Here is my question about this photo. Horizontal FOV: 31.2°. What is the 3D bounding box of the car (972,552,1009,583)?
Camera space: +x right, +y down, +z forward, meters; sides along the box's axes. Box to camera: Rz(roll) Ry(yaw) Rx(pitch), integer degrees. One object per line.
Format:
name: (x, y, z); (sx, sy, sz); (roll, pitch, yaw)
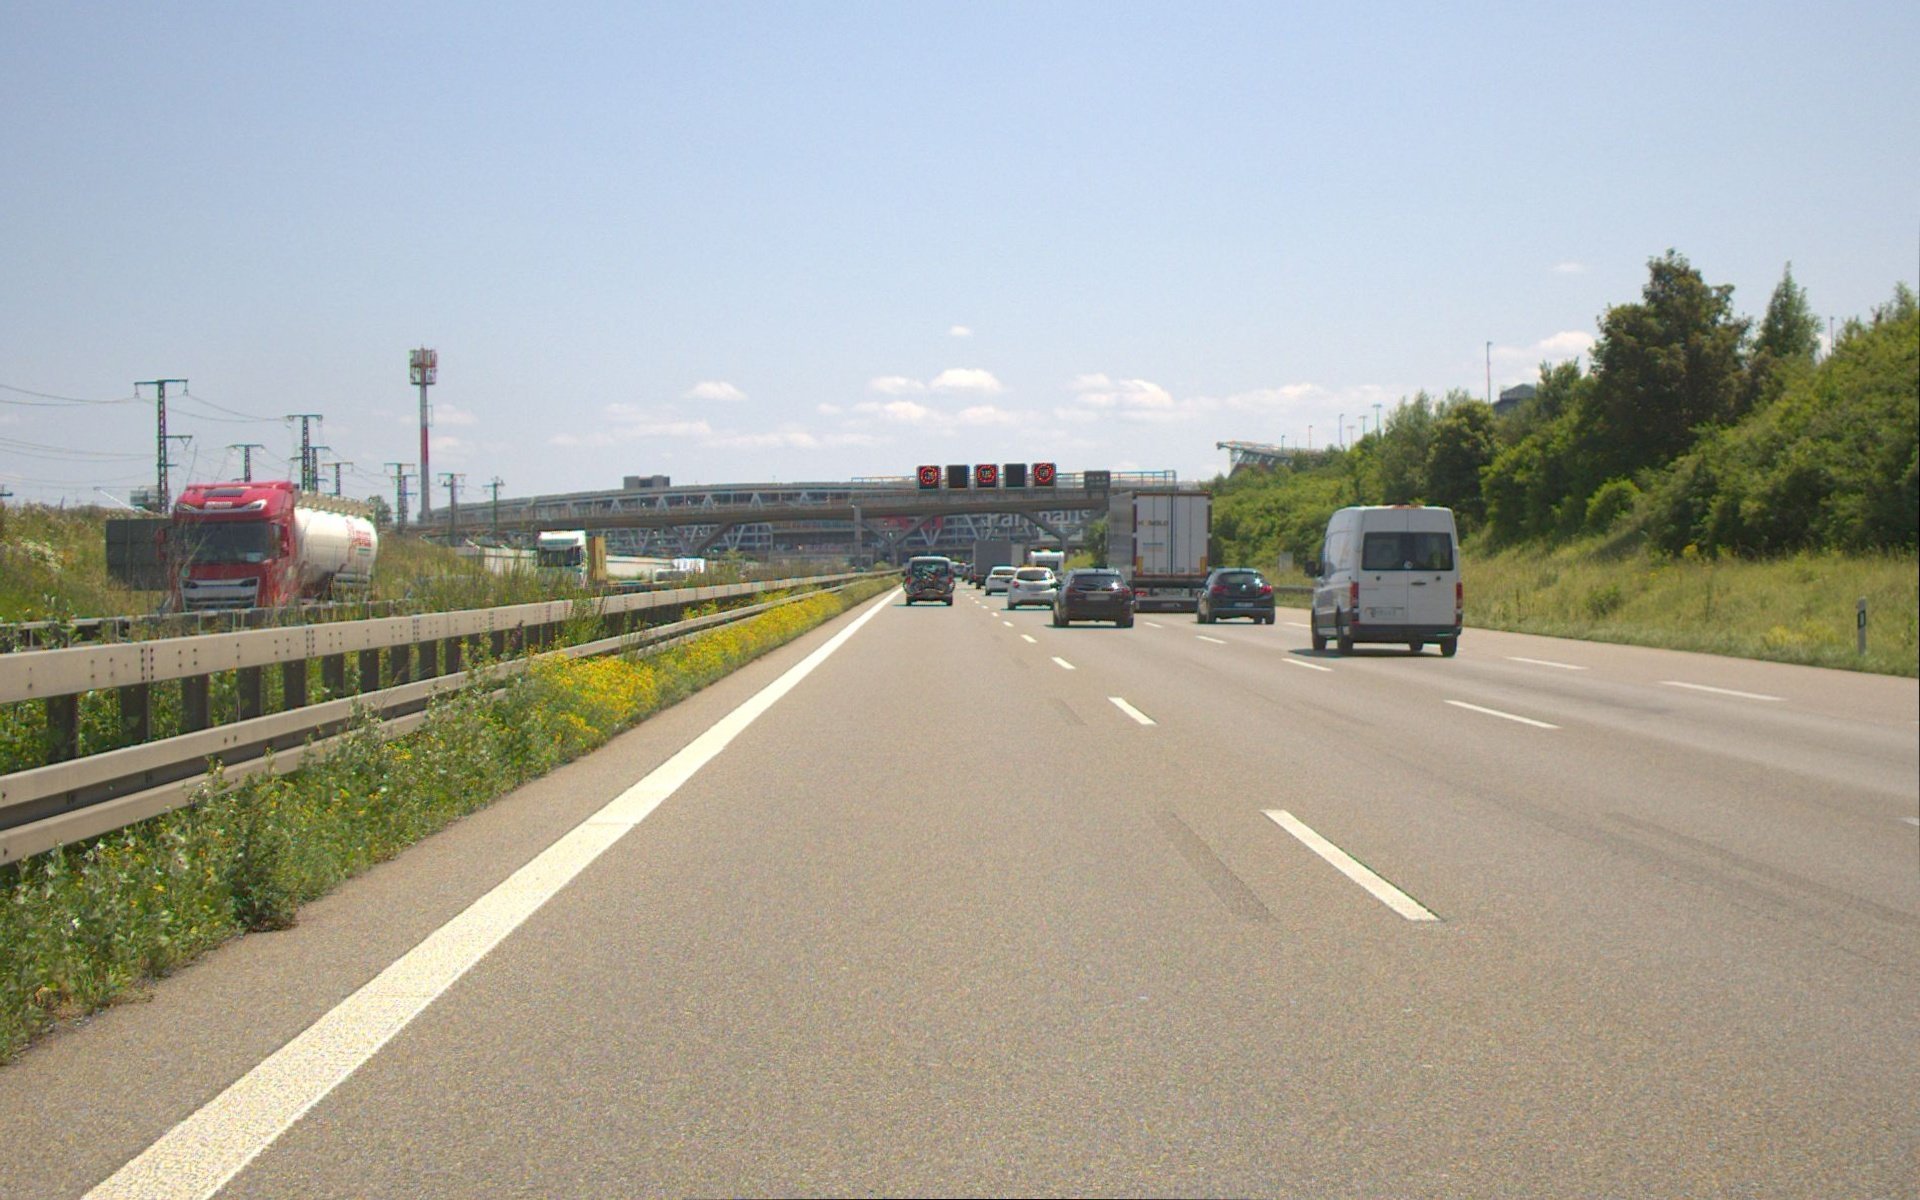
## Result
car: (1.558, -1.650, 176.240); (1.881, 1.521, 4.000); (1, 0, 1)

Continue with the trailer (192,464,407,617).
trailer: (-16.626, -1.467, 87.644); (2.787, 3.509, 13.841); (1, 1, 0)

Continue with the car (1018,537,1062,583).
car: (5.026, -2.522, 216.808); (2.607, 2.756, 5.237); (1, -1, 0)

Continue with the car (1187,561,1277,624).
car: (7.248, -0.190, 91.908); (1.993, 1.590, 4.000); (1, -1, -1)

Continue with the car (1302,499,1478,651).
car: (7.442, -0.459, 60.035); (2.274, 2.519, 5.400); (0, 1, -1)

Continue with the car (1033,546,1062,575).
car: (6.087, -2.797, 240.773); (1.993, 2.007, 4.437); (-1, 1, 1)

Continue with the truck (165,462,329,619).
truck: (-16.618, -1.375, 80.364); (2.787, 3.509, 4.713); (1, 1, 0)

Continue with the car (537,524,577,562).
car: (-21.817, -3.075, 186.283); (1.993, 2.007, 4.001); (0, 1, -4)

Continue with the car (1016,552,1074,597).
car: (2.945, -0.863, 118.365); (1.881, 1.521, 4.000); (1, 0, 3)

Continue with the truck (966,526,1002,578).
truck: (1.576, -3.160, 228.294); (2.355, 3.404, 6.057); (0, 1, 0)

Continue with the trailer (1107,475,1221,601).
trailer: (6.822, -2.084, 116.244); (3.177, 4.046, 9.440); (-1, 1, 0)

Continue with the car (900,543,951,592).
car: (-1.283, -1.211, 129.203); (1.881, 1.769, 4.000); (-1, 0, 0)

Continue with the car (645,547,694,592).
car: (-13.479, -1.430, 159.748); (1.993, 2.007, 4.000); (-1, 1, -1)

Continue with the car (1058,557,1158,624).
car: (3.513, -0.212, 82.280); (1.993, 1.503, 4.000); (1, -1, -3)
